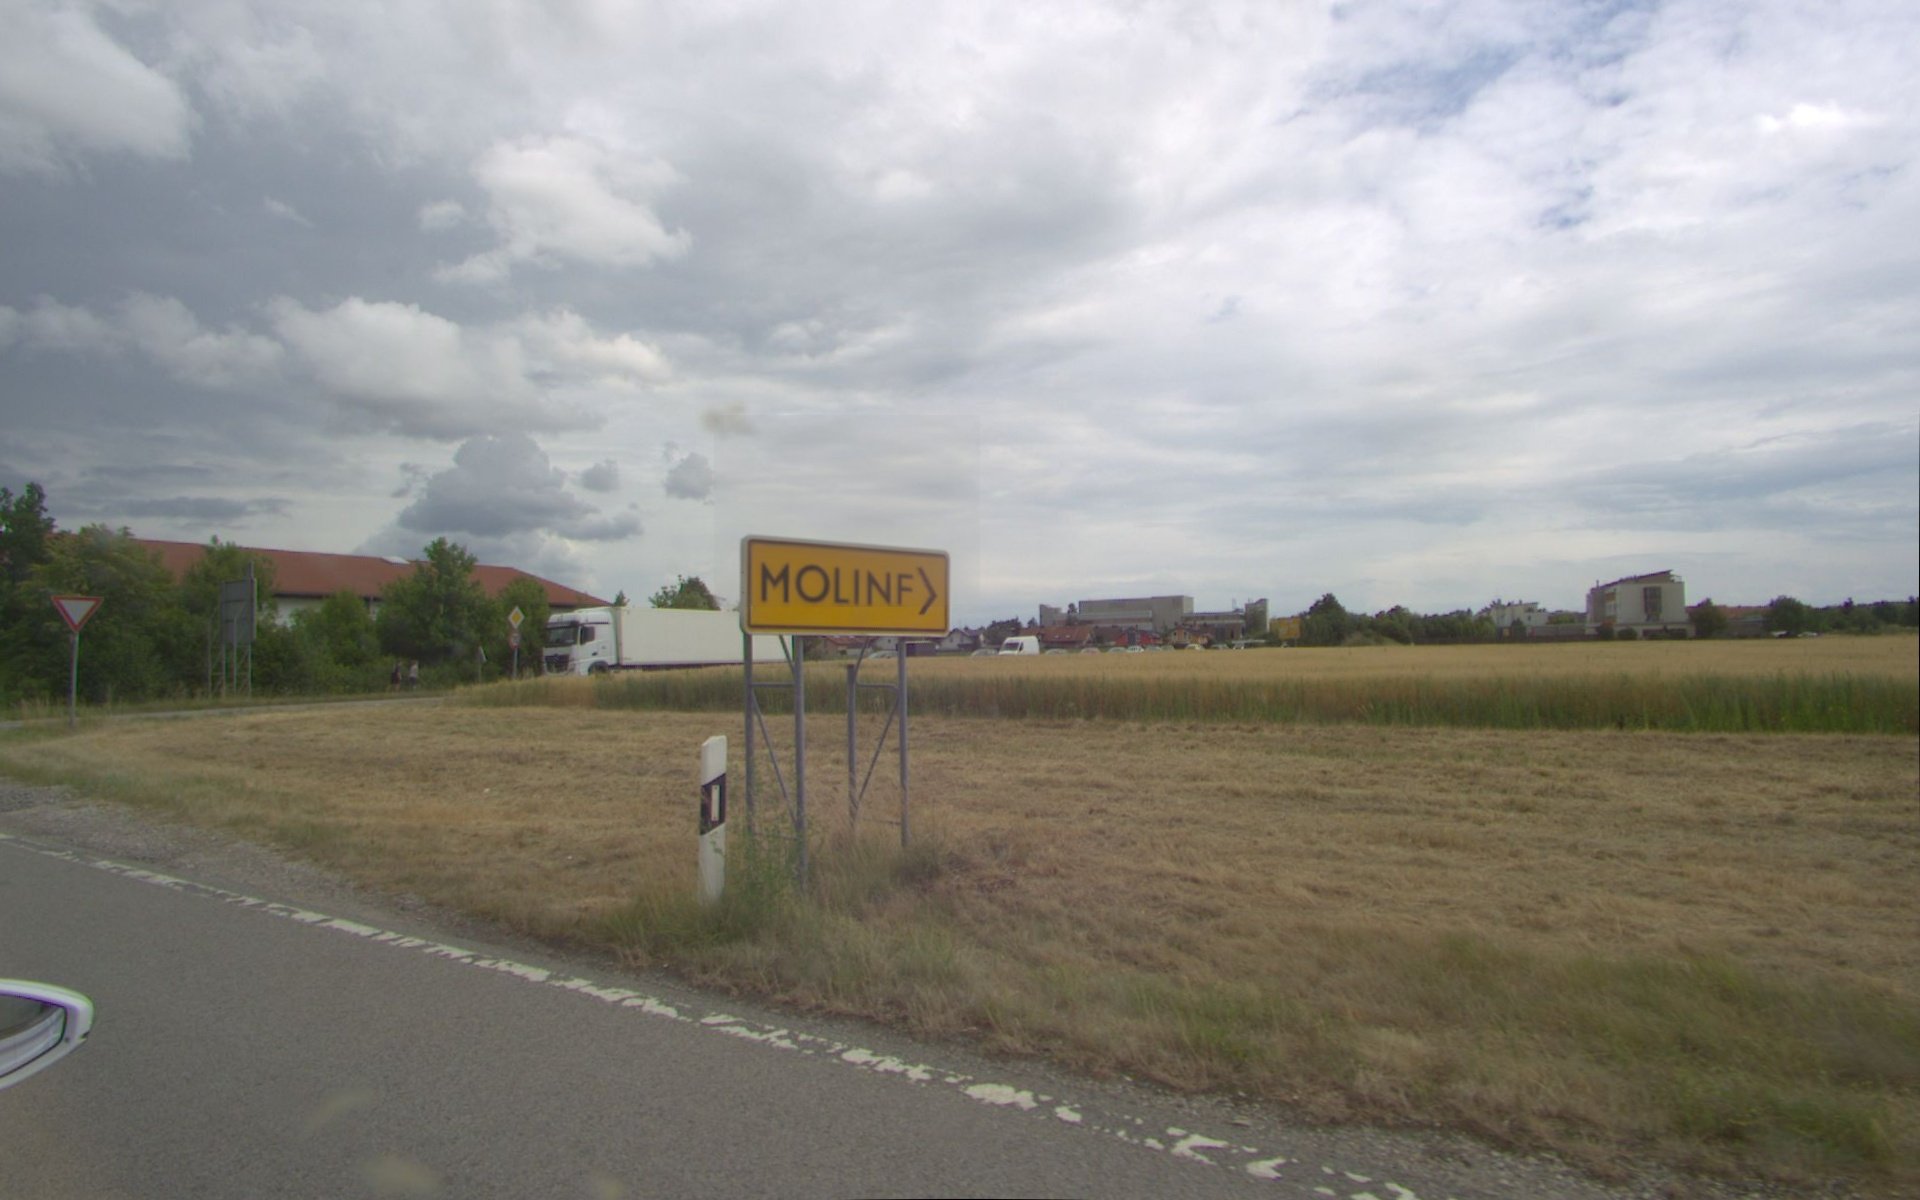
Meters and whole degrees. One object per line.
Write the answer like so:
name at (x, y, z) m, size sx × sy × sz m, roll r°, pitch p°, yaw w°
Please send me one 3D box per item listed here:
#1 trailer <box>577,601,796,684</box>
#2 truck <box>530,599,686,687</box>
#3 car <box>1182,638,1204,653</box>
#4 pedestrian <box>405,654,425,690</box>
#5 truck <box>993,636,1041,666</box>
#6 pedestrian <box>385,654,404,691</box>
trailer at (-14.798, 2.413, 56.220) m, size 3.082 × 4.063 × 13.835 m, roll -4°, pitch -4°, yaw 28°
truck at (-17.688, 2.194, 50.833) m, size 3.082 × 4.063 × 7.280 m, roll -4°, pitch -4°, yaw 28°
car at (30.026, 5.845, 128.856) m, size 1.967 × 1.915 × 3.988 m, roll -1°, pitch -1°, yaw 25°
pedestrian at (-25.996, 3.429, 47.769) m, size 0.521 × 1.704 × 0.626 m, roll -1°, pitch -1°, yaw 24°
truck at (5.327, 4.683, 92.008) m, size 1.970 × 2.607 × 5.993 m, roll -3°, pitch -4°, yaw 29°
pedestrian at (-27.220, 3.483, 48.201) m, size 0.521 × 1.704 × 0.626 m, roll -1°, pitch -1°, yaw 24°
